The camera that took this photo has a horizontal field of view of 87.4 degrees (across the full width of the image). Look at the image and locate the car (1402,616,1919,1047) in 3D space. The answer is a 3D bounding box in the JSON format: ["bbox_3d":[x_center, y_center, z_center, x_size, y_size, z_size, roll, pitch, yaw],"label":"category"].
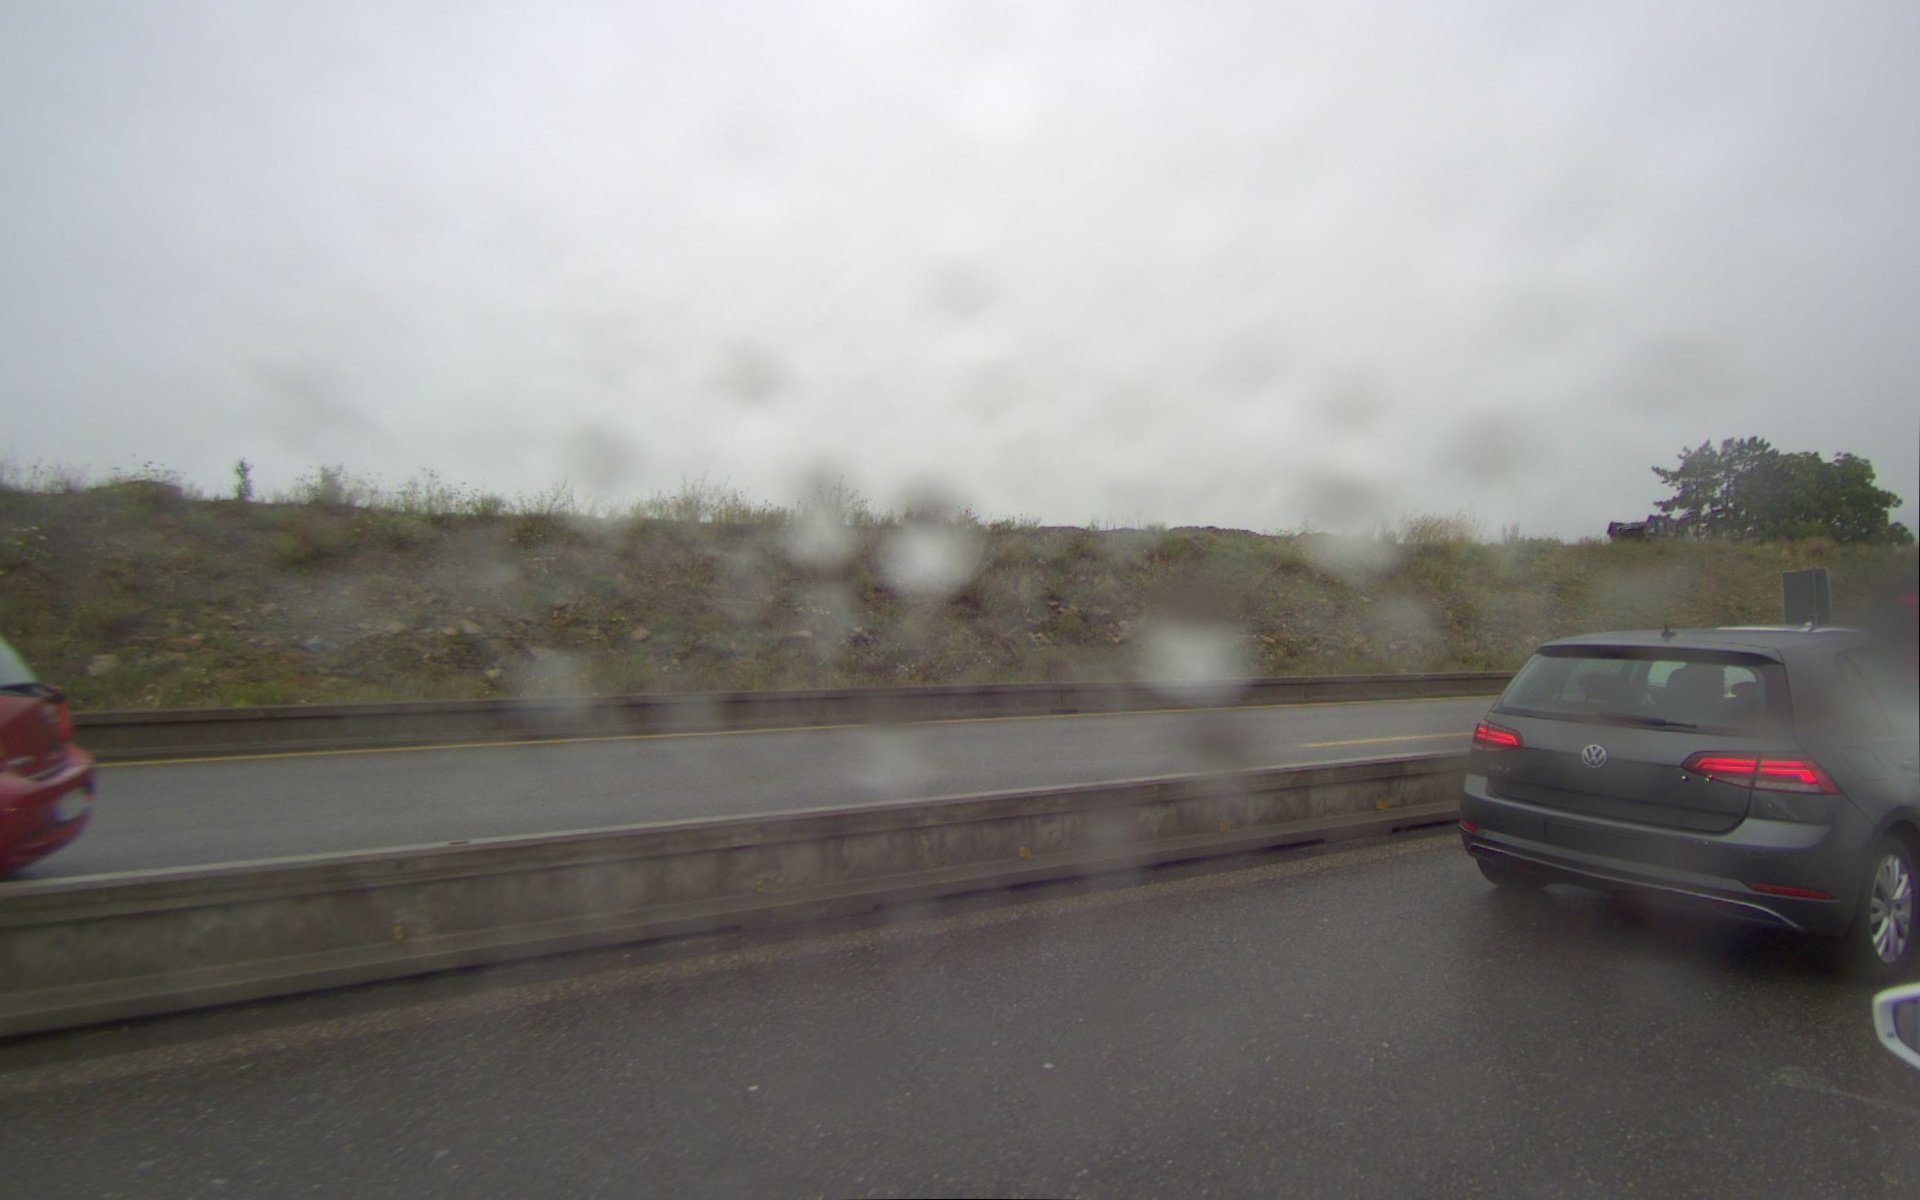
[{"bbox_3d":[4.455,0.889,5.362,4.316,1.526,1.607,1,-2,-30],"label":"car"}]

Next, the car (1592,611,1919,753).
[{"bbox_3d":[11.219,1.040,13.956,4.929,1.654,2.036,2,-1,-29],"label":"car"}]

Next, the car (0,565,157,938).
[{"bbox_3d":[-5.906,0.608,4.227,3.678,1.598,1.719,2,-1,-30],"label":"car"}]
